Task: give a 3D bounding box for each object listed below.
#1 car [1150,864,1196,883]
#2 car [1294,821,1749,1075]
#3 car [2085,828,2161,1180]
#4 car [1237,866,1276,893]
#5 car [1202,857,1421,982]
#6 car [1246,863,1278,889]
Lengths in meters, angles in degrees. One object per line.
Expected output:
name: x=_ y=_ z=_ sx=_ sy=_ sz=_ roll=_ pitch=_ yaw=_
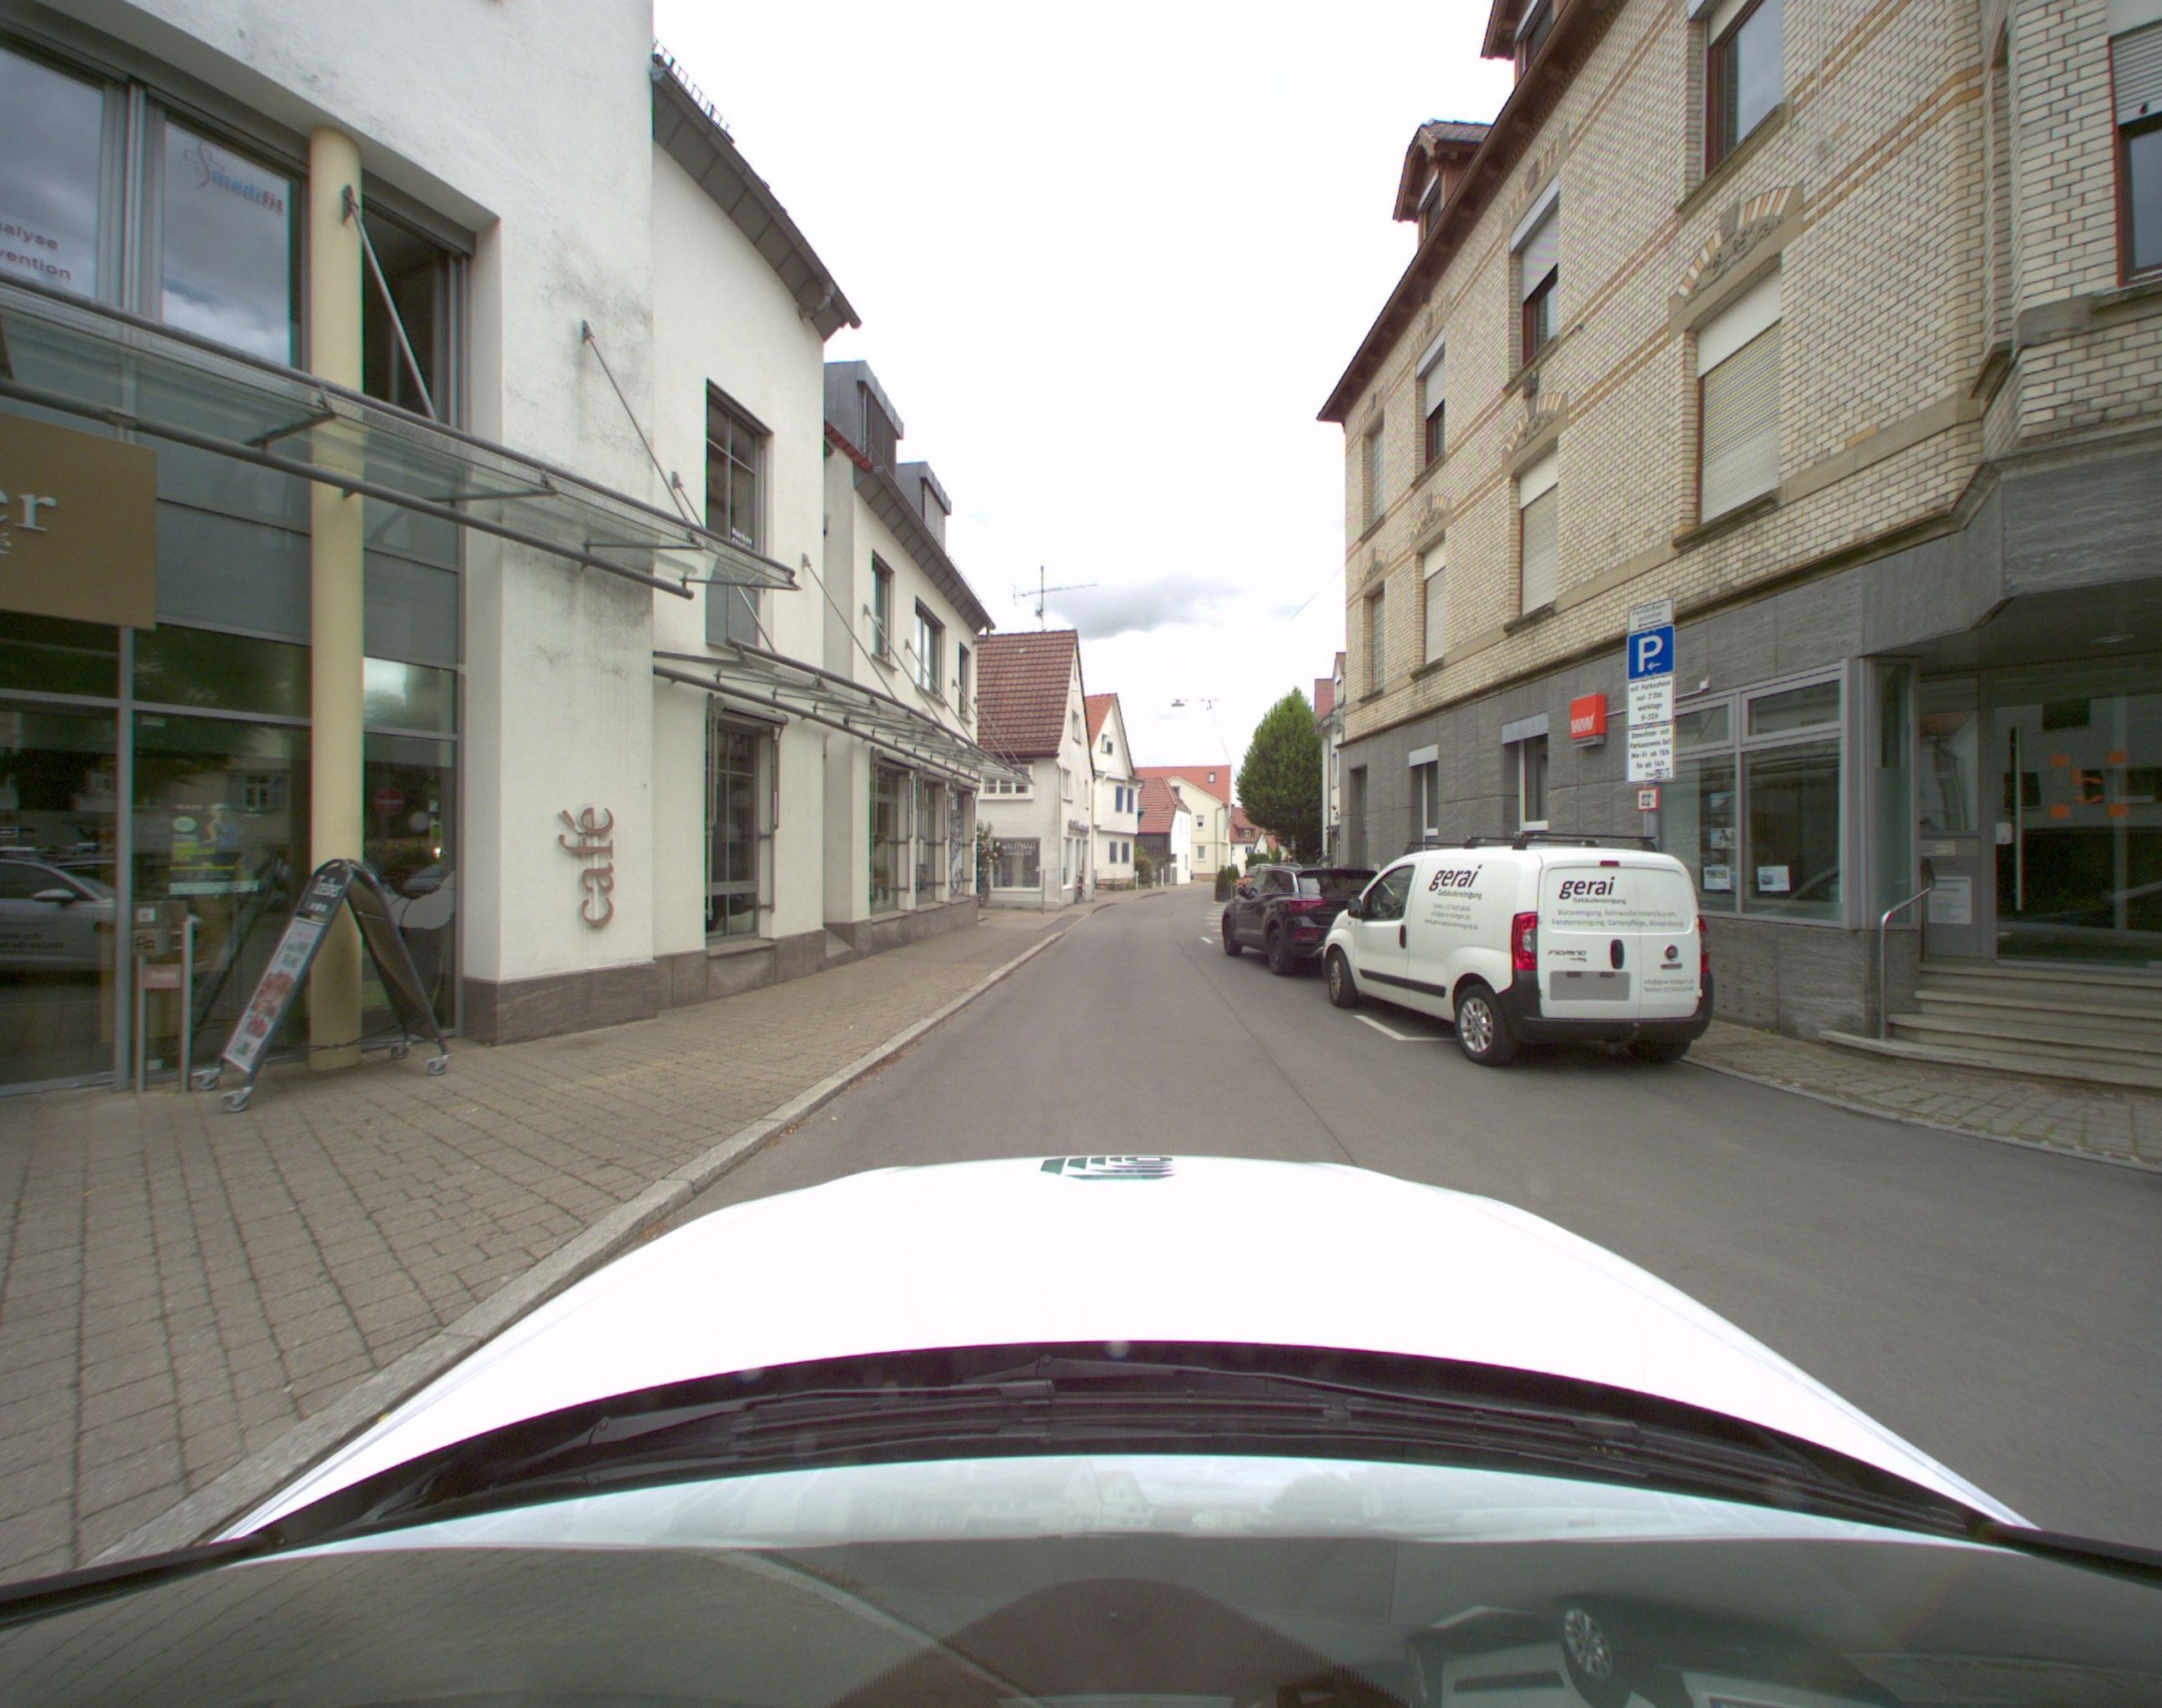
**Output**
car: x=8.328 y=1.776 z=73.835 sx=3.700 sy=1.412 sz=2.130 roll=3 pitch=-2 yaw=20
car: x=3.759 y=0.676 z=7.959 sx=1.824 sy=1.792 sz=4.208 roll=1 pitch=0 yaw=-7
car: x=6.911 y=0.735 z=2.781 sx=3.974 sy=1.704 sz=1.872 roll=1 pitch=-1 yaw=22
car: x=10.445 y=1.470 z=48.205 sx=1.933 sy=1.508 sz=4.840 roll=1 pitch=-1 yaw=16
car: x=3.345 y=0.880 z=12.825 sx=1.785 sy=1.601 sz=4.532 roll=1 pitch=-1 yaw=-6
car: x=12.089 y=1.480 z=54.145 sx=1.849 sy=1.633 sz=4.920 roll=0 pitch=-1 yaw=15
